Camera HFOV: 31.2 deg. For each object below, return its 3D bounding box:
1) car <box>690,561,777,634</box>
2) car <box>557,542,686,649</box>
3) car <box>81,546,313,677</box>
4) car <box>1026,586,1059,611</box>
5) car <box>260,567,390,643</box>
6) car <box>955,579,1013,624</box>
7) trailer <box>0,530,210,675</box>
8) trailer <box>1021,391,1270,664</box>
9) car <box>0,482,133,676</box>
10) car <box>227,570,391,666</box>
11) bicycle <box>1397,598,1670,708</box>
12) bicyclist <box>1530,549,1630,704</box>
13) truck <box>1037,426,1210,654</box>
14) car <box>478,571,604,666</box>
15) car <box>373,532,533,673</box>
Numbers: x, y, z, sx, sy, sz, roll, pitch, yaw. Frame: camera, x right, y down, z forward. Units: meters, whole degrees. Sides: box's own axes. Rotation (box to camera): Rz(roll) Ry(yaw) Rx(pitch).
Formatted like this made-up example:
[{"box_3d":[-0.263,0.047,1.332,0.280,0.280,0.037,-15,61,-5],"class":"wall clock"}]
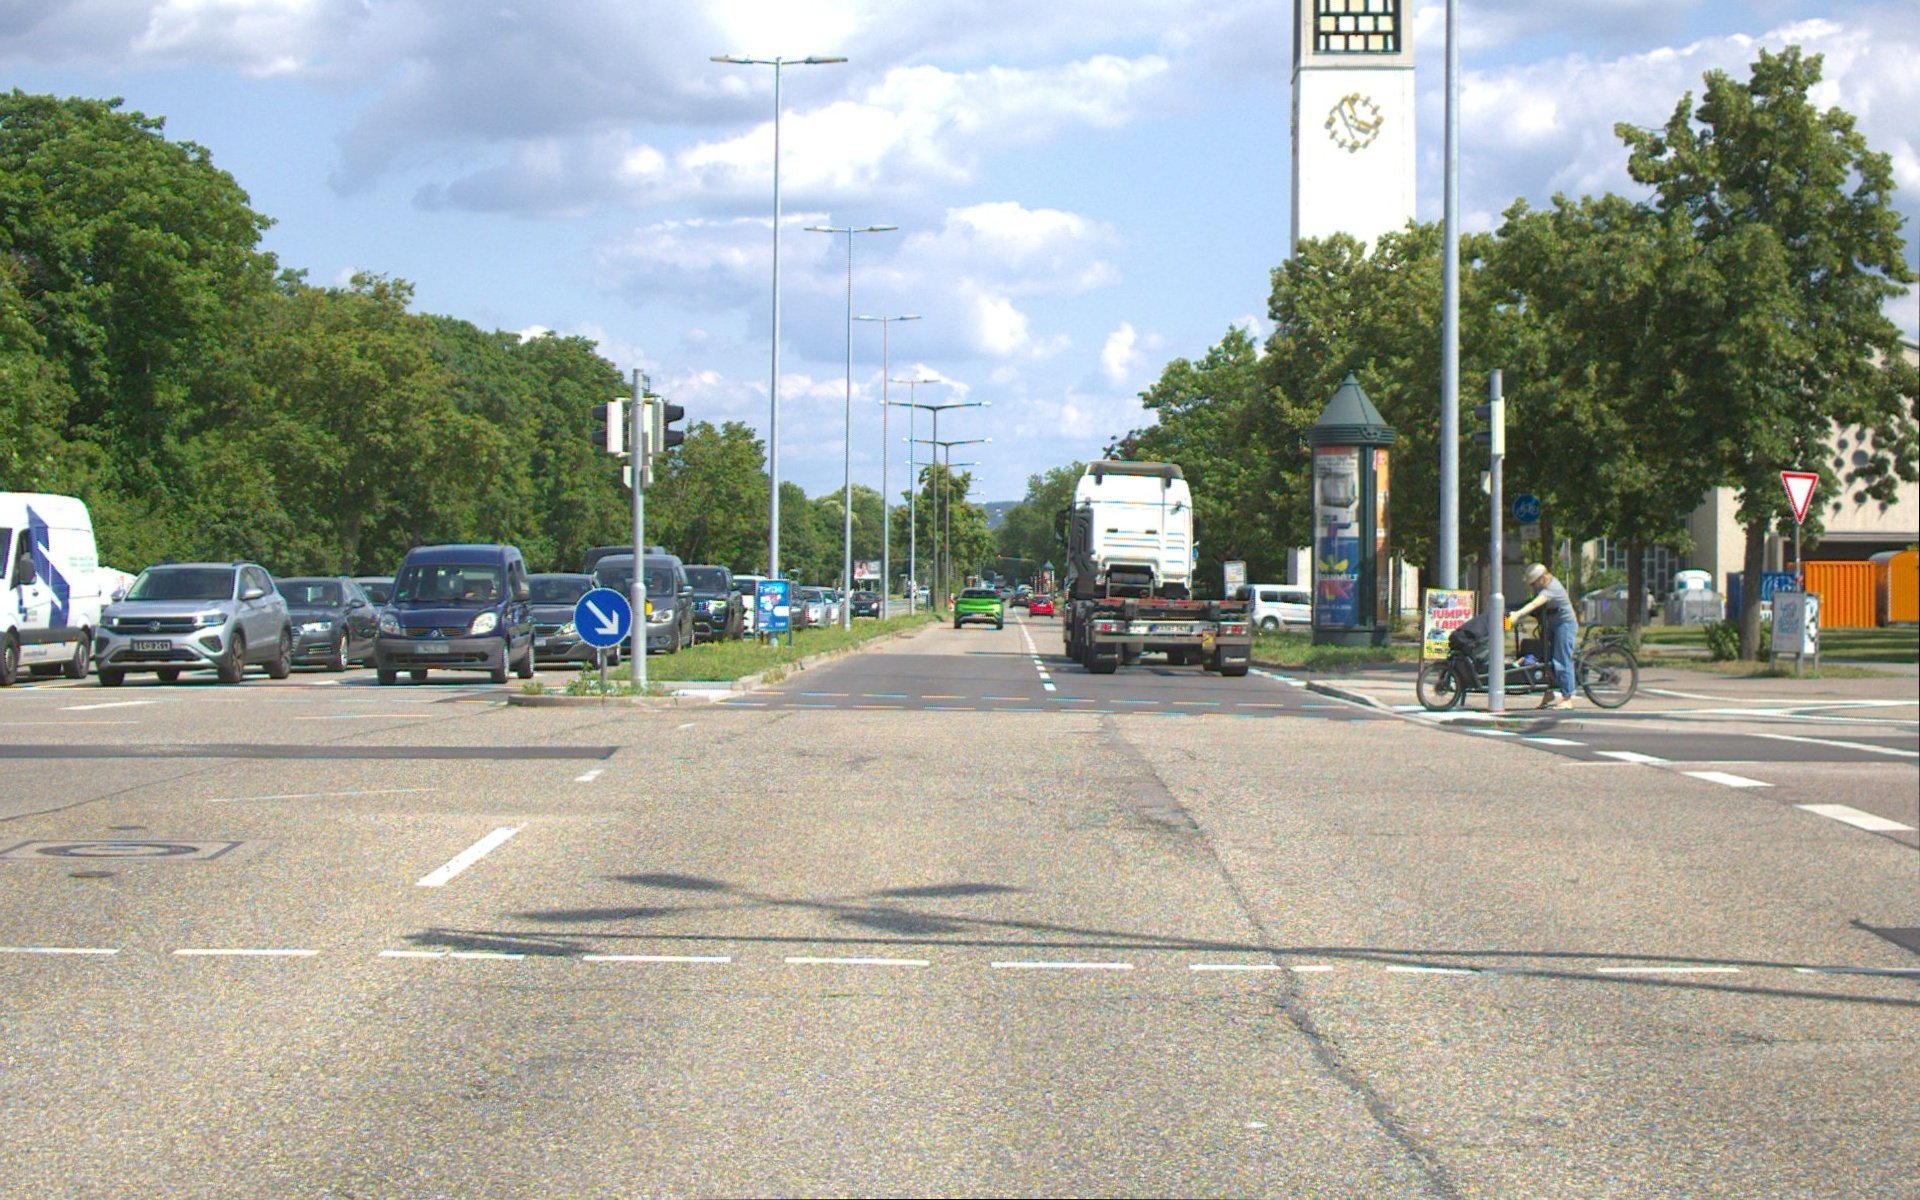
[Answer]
[{"box_3d":[-5.489,-0.063,83.788,1.734,1.654,4.231,2,0,0],"class":"car"},{"box_3d":[-5.769,-0.110,59.014,1.734,1.654,4.231,2,1,0],"class":"car"},{"box_3d":[-9.800,0.138,44.463,1.735,1.538,4.308,2,0,4],"class":"car"},{"box_3d":[5.371,-0.118,224.772,1.993,1.547,4.000,2,0,-1],"class":"car"},{"box_3d":[-11.737,0.075,63.724,1.763,1.347,3.519,1,0,-1],"class":"car"},{"box_3d":[0.849,0.039,126.055,1.993,1.547,4.000,2,0,-1],"class":"car"},{"box_3d":[-13.081,0.017,51.699,2.124,2.007,5.161,2,0,3],"class":"trailer"},{"box_3d":[3.117,-1.059,56.749,3.621,3.998,11.317,1,0,4],"class":"trailer"},{"box_3d":[-13.120,-0.305,46.115,2.174,2.463,5.966,2,0,4],"class":"car"},{"box_3d":[-9.534,0.251,50.543,1.763,1.347,3.519,1,0,-1],"class":"car"},{"box_3d":[6.031,0.554,36.100,2.832,1.108,0.797,0,1,-24],"class":"bicycle"},{"box_3d":[6.546,0.269,36.315,0.698,1.610,0.797,0,1,-24],"class":"bicyclist"},{"box_3d":[3.149,-1.034,64.651,2.960,3.957,8.636,1,0,4],"class":"truck"},{"box_3d":[-6.238,0.255,51.413,1.568,1.311,3.432,2,0,-3],"class":"car"},{"box_3d":[-6.478,0.020,44.232,1.734,1.654,4.232,2,0,-5],"class":"car"}]
